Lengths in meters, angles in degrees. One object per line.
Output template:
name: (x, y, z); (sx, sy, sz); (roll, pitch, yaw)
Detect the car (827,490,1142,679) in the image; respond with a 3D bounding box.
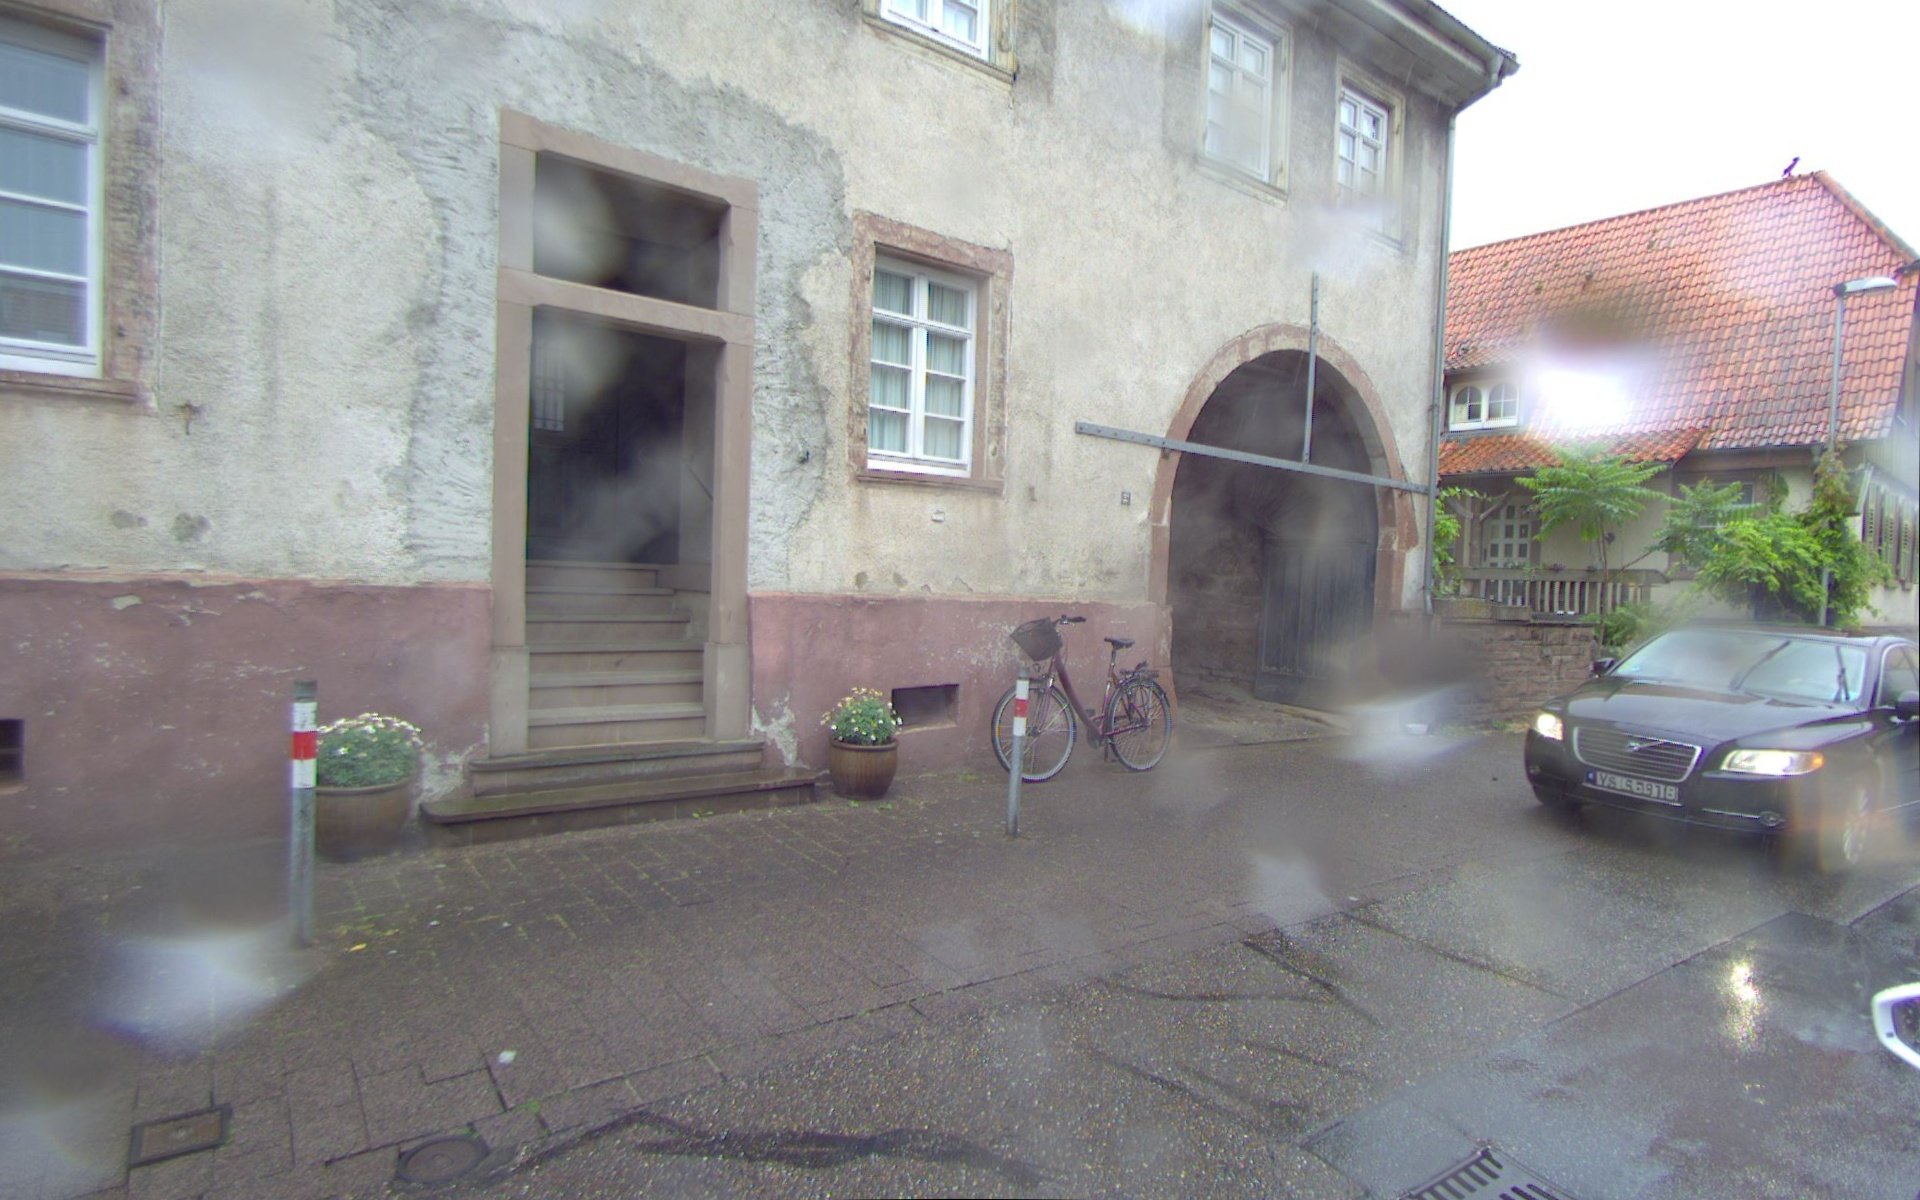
car: (0.151, -0.309, 13.519); (1.869, 1.957, 4.194); (6, 3, -37)

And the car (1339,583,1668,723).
car: (7.979, 0.697, 15.155); (1.715, 1.444, 3.967); (2, 5, -30)

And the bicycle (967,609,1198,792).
bicycle: (0.952, 0.684, 7.445); (1.858, 1.194, 0.478); (1, 4, -38)

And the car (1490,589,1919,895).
car: (5.854, 0.811, 7.299); (4.298, 1.529, 1.685); (2, 4, -35)
